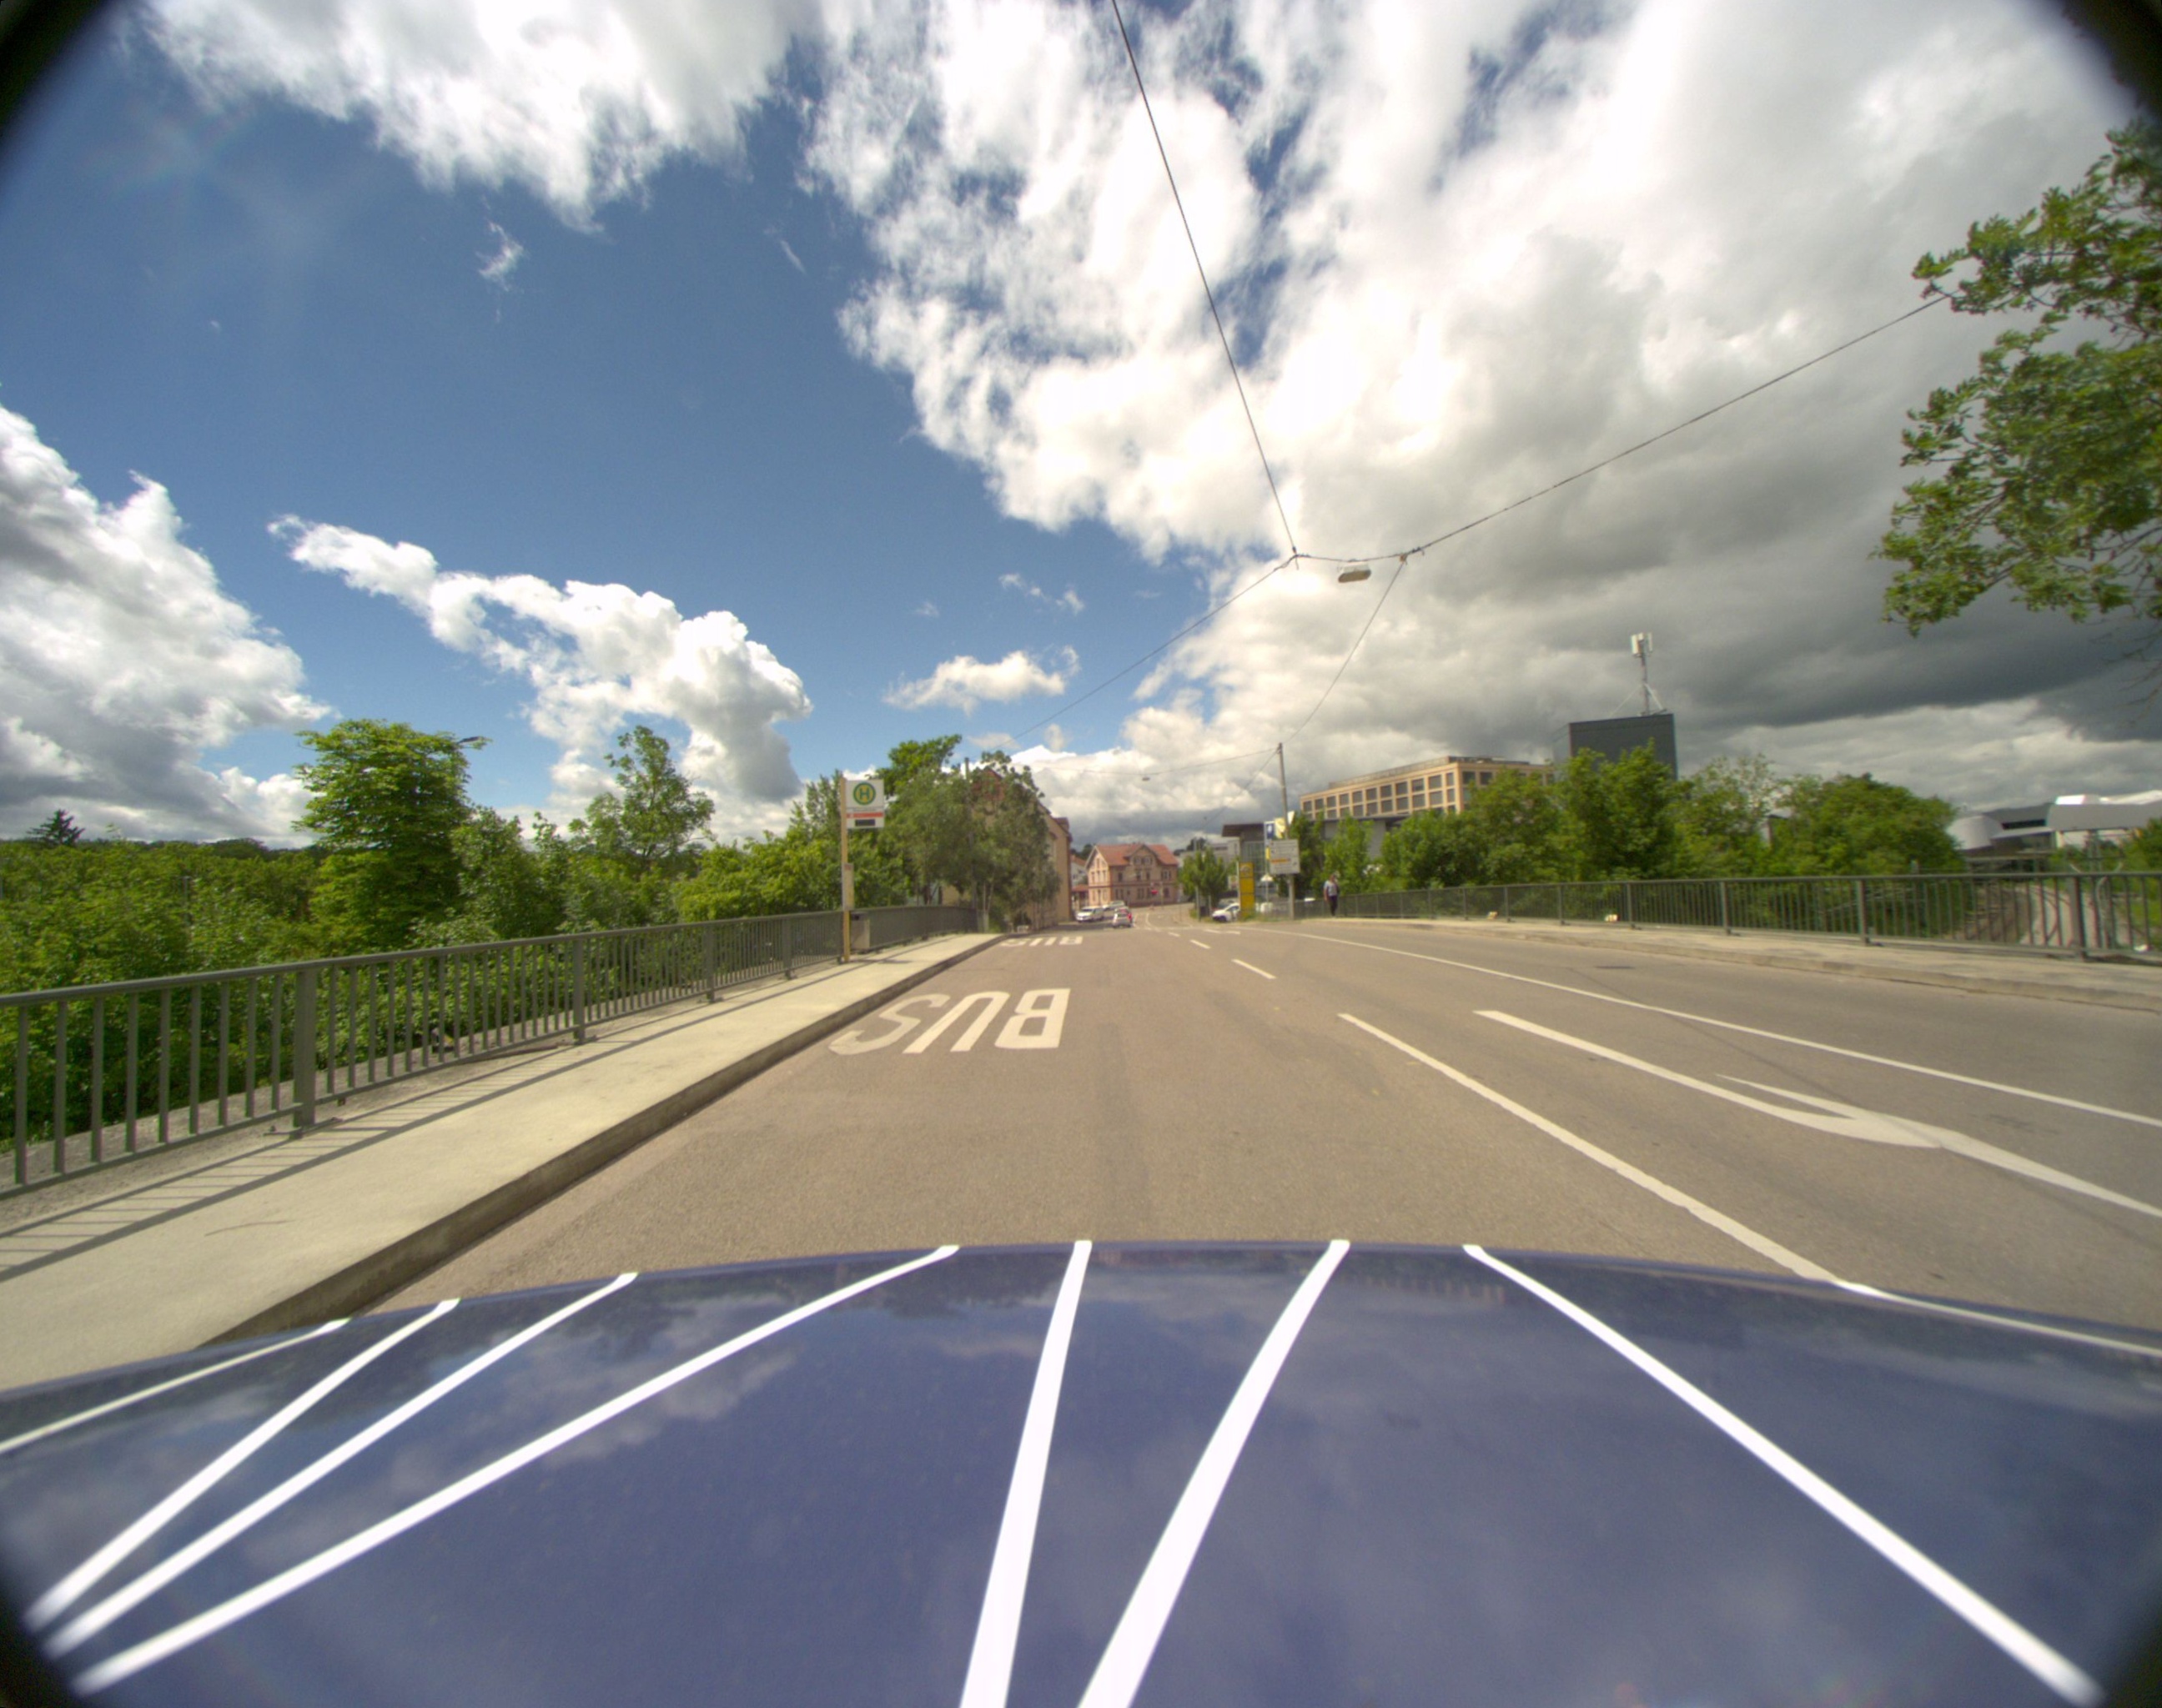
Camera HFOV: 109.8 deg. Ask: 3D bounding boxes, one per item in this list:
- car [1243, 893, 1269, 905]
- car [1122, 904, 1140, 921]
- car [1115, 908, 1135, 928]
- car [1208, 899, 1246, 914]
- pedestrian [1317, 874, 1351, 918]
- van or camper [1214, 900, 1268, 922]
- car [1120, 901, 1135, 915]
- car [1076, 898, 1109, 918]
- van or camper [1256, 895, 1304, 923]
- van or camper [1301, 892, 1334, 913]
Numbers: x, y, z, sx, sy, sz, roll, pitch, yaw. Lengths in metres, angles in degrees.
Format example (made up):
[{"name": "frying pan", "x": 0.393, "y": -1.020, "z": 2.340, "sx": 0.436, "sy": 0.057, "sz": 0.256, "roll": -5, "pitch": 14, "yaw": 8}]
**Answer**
[{"name": "car", "x": 22.974, "y": 5.896, "z": 99.730, "sx": 3.017, "sy": 1.364, "sz": 1.519, "roll": -2, "pitch": -3, "yaw": 3}, {"name": "car", "x": 5.762, "y": 6.681, "z": 87.315, "sx": 1.722, "sy": 1.571, "sz": 4.254, "roll": -5, "pitch": -2, "yaw": 6}, {"name": "car", "x": 4.313, "y": 6.316, "z": 75.303, "sx": 1.723, "sy": 1.571, "sz": 4.002, "roll": -5, "pitch": -2, "yaw": 1}, {"name": "car", "x": 16.286, "y": 5.844, "z": 84.816, "sx": 3.858, "sy": 1.488, "sz": 1.814, "roll": -2, "pitch": -3, "yaw": 2}, {"name": "pedestrian", "x": 10.946, "y": 1.828, "z": 32.945, "sx": 0.998, "sy": 1.825, "sz": 1.038, "roll": -4, "pitch": -4, "yaw": 2}, {"name": "van or camper", "x": 14.698, "y": 5.239, "z": 70.025, "sx": 4.677, "sy": 1.738, "sz": 2.002, "roll": -3, "pitch": -3, "yaw": 7}, {"name": "car", "x": 6.248, "y": 7.259, "z": 101.724, "sx": 1.722, "sy": 1.571, "sz": 4.003, "roll": -5, "pitch": -2, "yaw": 6}, {"name": "car", "x": 1.477, "y": 6.853, "z": 97.069, "sx": 1.996, "sy": 1.980, "sz": 4.999, "roll": -7, "pitch": -2, "yaw": 28}, {"name": "van or camper", "x": 15.964, "y": 4.371, "z": 60.883, "sx": 1.985, "sy": 1.950, "sz": 4.970, "roll": -6, "pitch": -4, "yaw": 35}, {"name": "van or camper", "x": 24.036, "y": 4.931, "z": 77.301, "sx": 1.998, "sy": 2.000, "sz": 4.689, "roll": -2, "pitch": -3, "yaw": 2}]
